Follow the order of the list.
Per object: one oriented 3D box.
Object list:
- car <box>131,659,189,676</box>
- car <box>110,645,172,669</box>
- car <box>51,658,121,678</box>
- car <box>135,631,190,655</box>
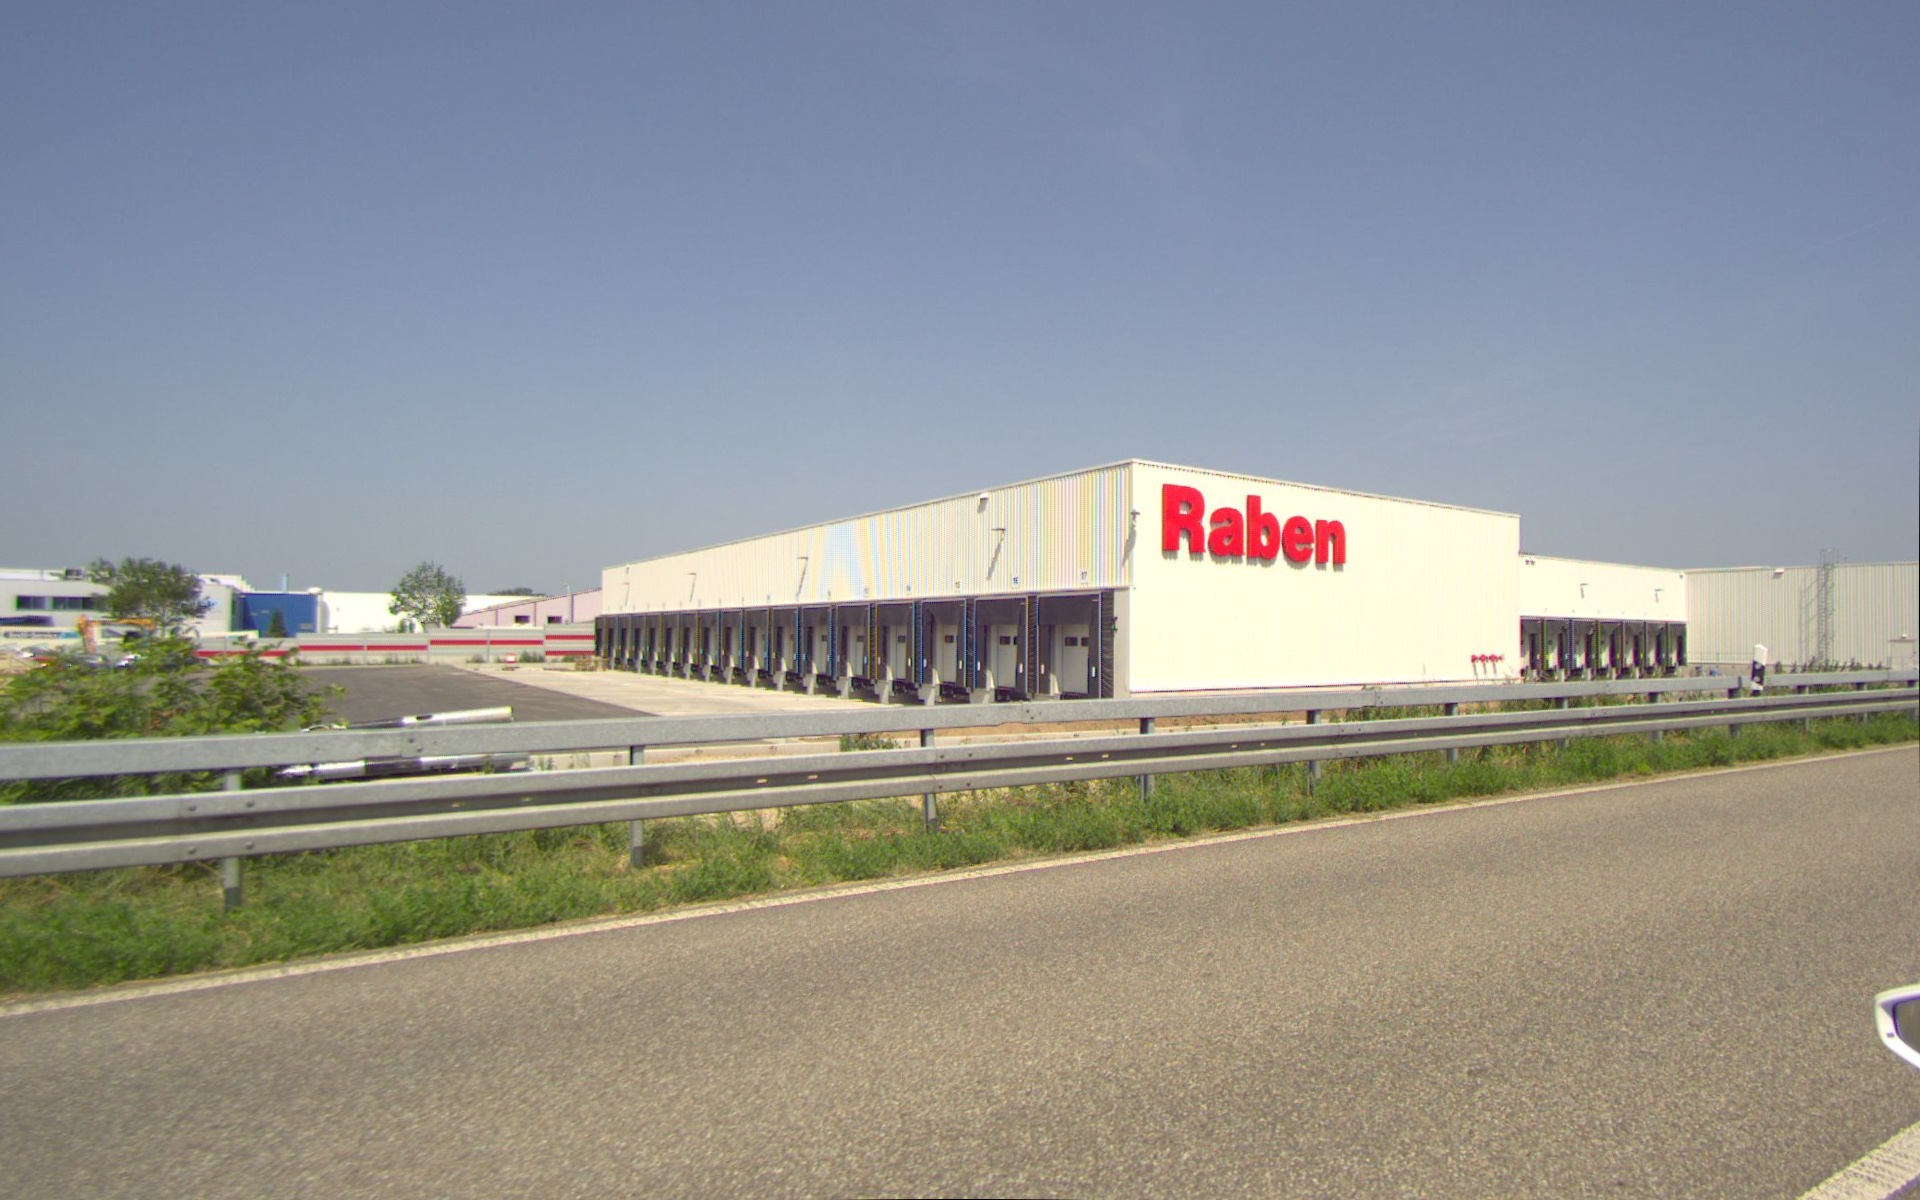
[{"bbox_3d":[-56.002,4.733,70.368,3.093,1.181,1.484,2,-4,-37],"label":"car"},{"bbox_3d":[-63.473,4.423,77.938,3.629,1.878,1.744,2,-4,-38],"label":"car"},{"bbox_3d":[-59.087,4.593,67.979,3.464,1.259,1.483,2,-4,-38],"label":"car"},{"bbox_3d":[-61.144,3.329,77.092,3.250,1.733,1.744,2,-4,-38],"label":"car"}]
